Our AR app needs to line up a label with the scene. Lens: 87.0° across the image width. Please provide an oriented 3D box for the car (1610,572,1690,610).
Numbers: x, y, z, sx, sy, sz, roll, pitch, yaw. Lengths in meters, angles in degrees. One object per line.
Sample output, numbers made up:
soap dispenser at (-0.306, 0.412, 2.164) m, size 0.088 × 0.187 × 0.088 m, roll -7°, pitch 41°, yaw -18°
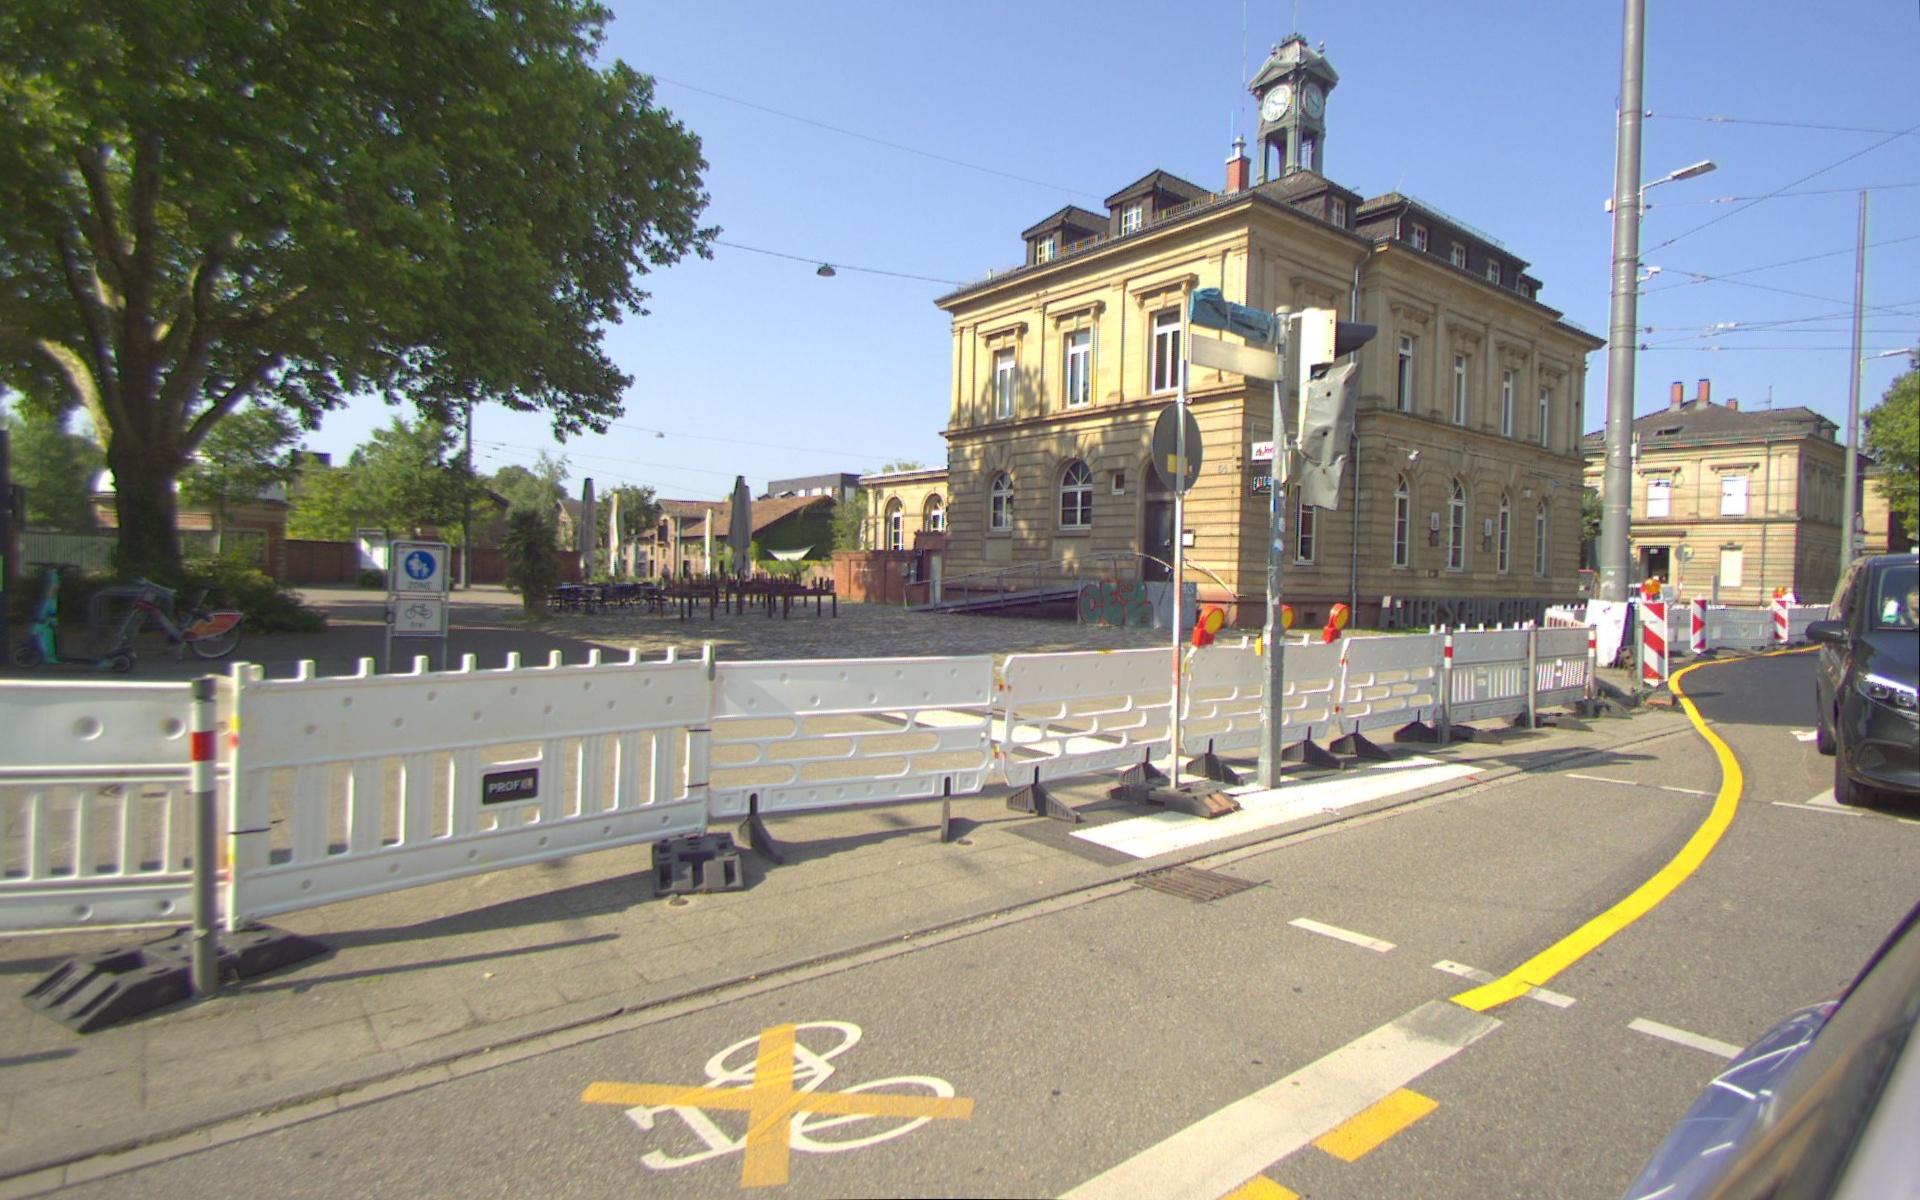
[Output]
car at (34.941, -0.454, 51.236) m, size 4.144 × 1.804 × 1.911 m, roll 0°, pitch 3°, yaw -35°

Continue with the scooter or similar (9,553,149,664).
scooter or similar at (-10.211, 0.093, 11.770) m, size 1.150 × 1.243 × 0.427 m, roll 1°, pitch 1°, yaw -31°

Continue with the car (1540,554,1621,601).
car at (33.768, -1.209, 54.996) m, size 5.394 × 2.452 × 2.262 m, roll 0°, pitch 2°, yaw -42°

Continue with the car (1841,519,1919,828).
car at (7.708, 0.434, 7.412) m, size 1.847 × 1.910 × 4.116 m, roll 0°, pitch 1°, yaw 42°

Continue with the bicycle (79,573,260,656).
bicycle at (-10.386, 0.206, 13.365) m, size 0.489 × 1.012 × 1.796 m, roll 3°, pitch 0°, yaw 33°
